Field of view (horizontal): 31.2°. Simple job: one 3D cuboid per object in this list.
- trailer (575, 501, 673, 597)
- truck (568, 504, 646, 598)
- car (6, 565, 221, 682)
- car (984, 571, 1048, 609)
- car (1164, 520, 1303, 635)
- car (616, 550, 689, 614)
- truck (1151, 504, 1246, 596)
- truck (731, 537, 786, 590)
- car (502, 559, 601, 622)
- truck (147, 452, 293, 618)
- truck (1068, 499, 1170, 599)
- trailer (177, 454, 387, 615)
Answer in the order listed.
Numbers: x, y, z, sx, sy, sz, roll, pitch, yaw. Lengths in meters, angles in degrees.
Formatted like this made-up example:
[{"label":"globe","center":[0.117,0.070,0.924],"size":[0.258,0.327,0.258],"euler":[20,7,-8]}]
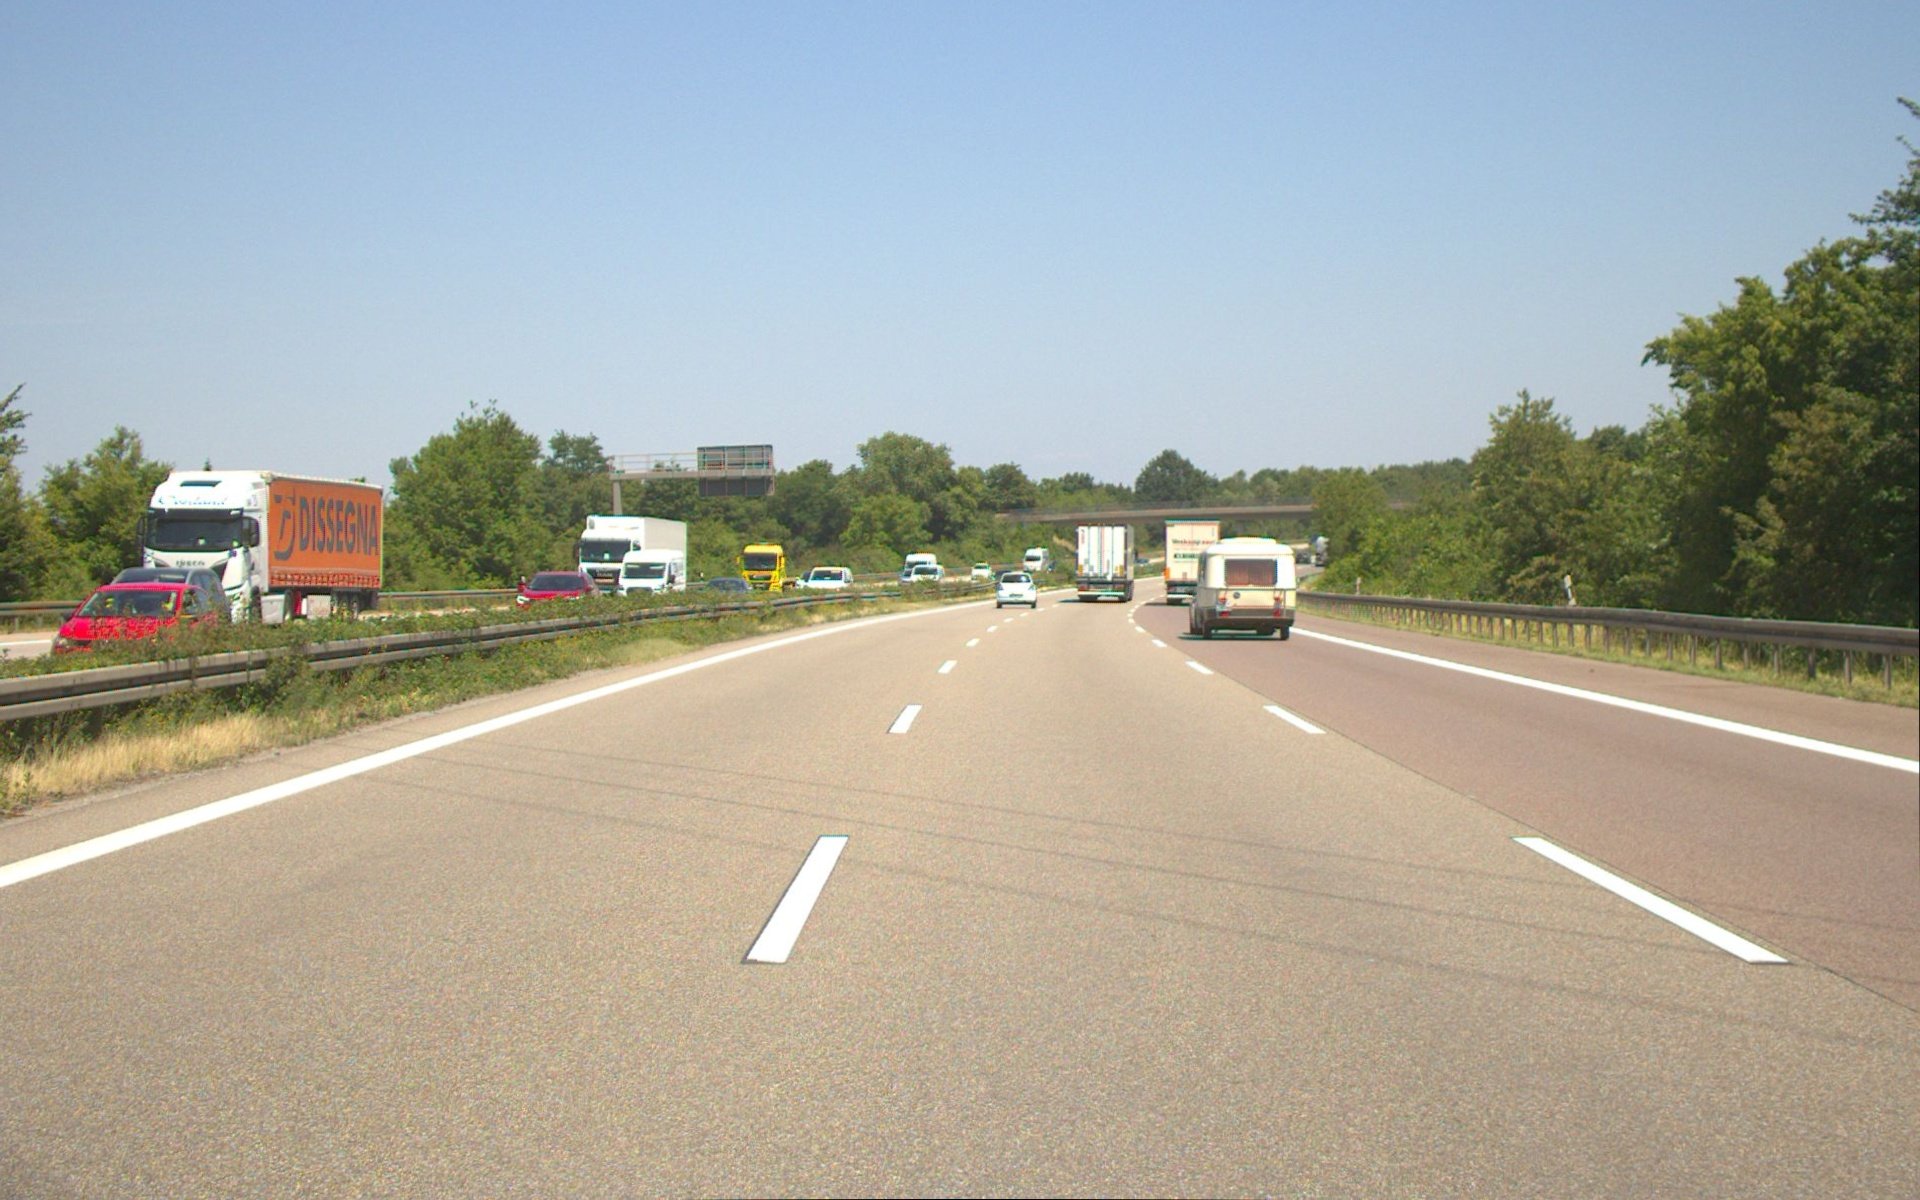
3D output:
[{"label":"trailer","center":[-15.472,-2.319,159.233],"size":[2.835,4.243,13.637],"euler":[0,1,2]},{"label":"truck","center":[-15.640,-2.169,152.591],"size":[2.830,4.067,5.166],"euler":[0,0,2]},{"label":"car","center":[-11.235,0.277,45.881],"size":[1.904,1.475,3.961],"euler":[0,1,0]},{"label":"car","center":[2.419,-0.454,146.892],"size":[1.829,1.542,4.317],"euler":[1,1,13]},{"label":"car","center":[5.921,-0.526,75.121],"size":[2.442,2.313,5.322],"euler":[-1,2,-2]},{"label":"car","center":[-12.012,-0.721,134.776],"size":[1.994,2.462,6.490],"euler":[0,0,3]},{"label":"truck","center":[11.918,-2.588,170.328],"size":[3.182,4.289,16.012],"euler":[0,2,9]},{"label":"truck","center":[-12.089,-2.192,206.916],"size":[2.521,3.141,9.667],"euler":[0,1,2]},{"label":"car","center":[-10.372,-0.256,87.615],"size":[1.993,1.543,4.448],"euler":[0,1,0]},{"label":"truck","center":[-18.420,-1.652,85.783],"size":[2.482,4.005,4.602],"euler":[0,2,2]},{"label":"truck","center":[8.502,-2.805,181.218],"size":[3.668,5.001,16.012],"euler":[0,2,9]},{"label":"trailer","center":[-18.151,-1.853,93.104],"size":[2.507,4.029,13.586],"euler":[0,2,2]}]
